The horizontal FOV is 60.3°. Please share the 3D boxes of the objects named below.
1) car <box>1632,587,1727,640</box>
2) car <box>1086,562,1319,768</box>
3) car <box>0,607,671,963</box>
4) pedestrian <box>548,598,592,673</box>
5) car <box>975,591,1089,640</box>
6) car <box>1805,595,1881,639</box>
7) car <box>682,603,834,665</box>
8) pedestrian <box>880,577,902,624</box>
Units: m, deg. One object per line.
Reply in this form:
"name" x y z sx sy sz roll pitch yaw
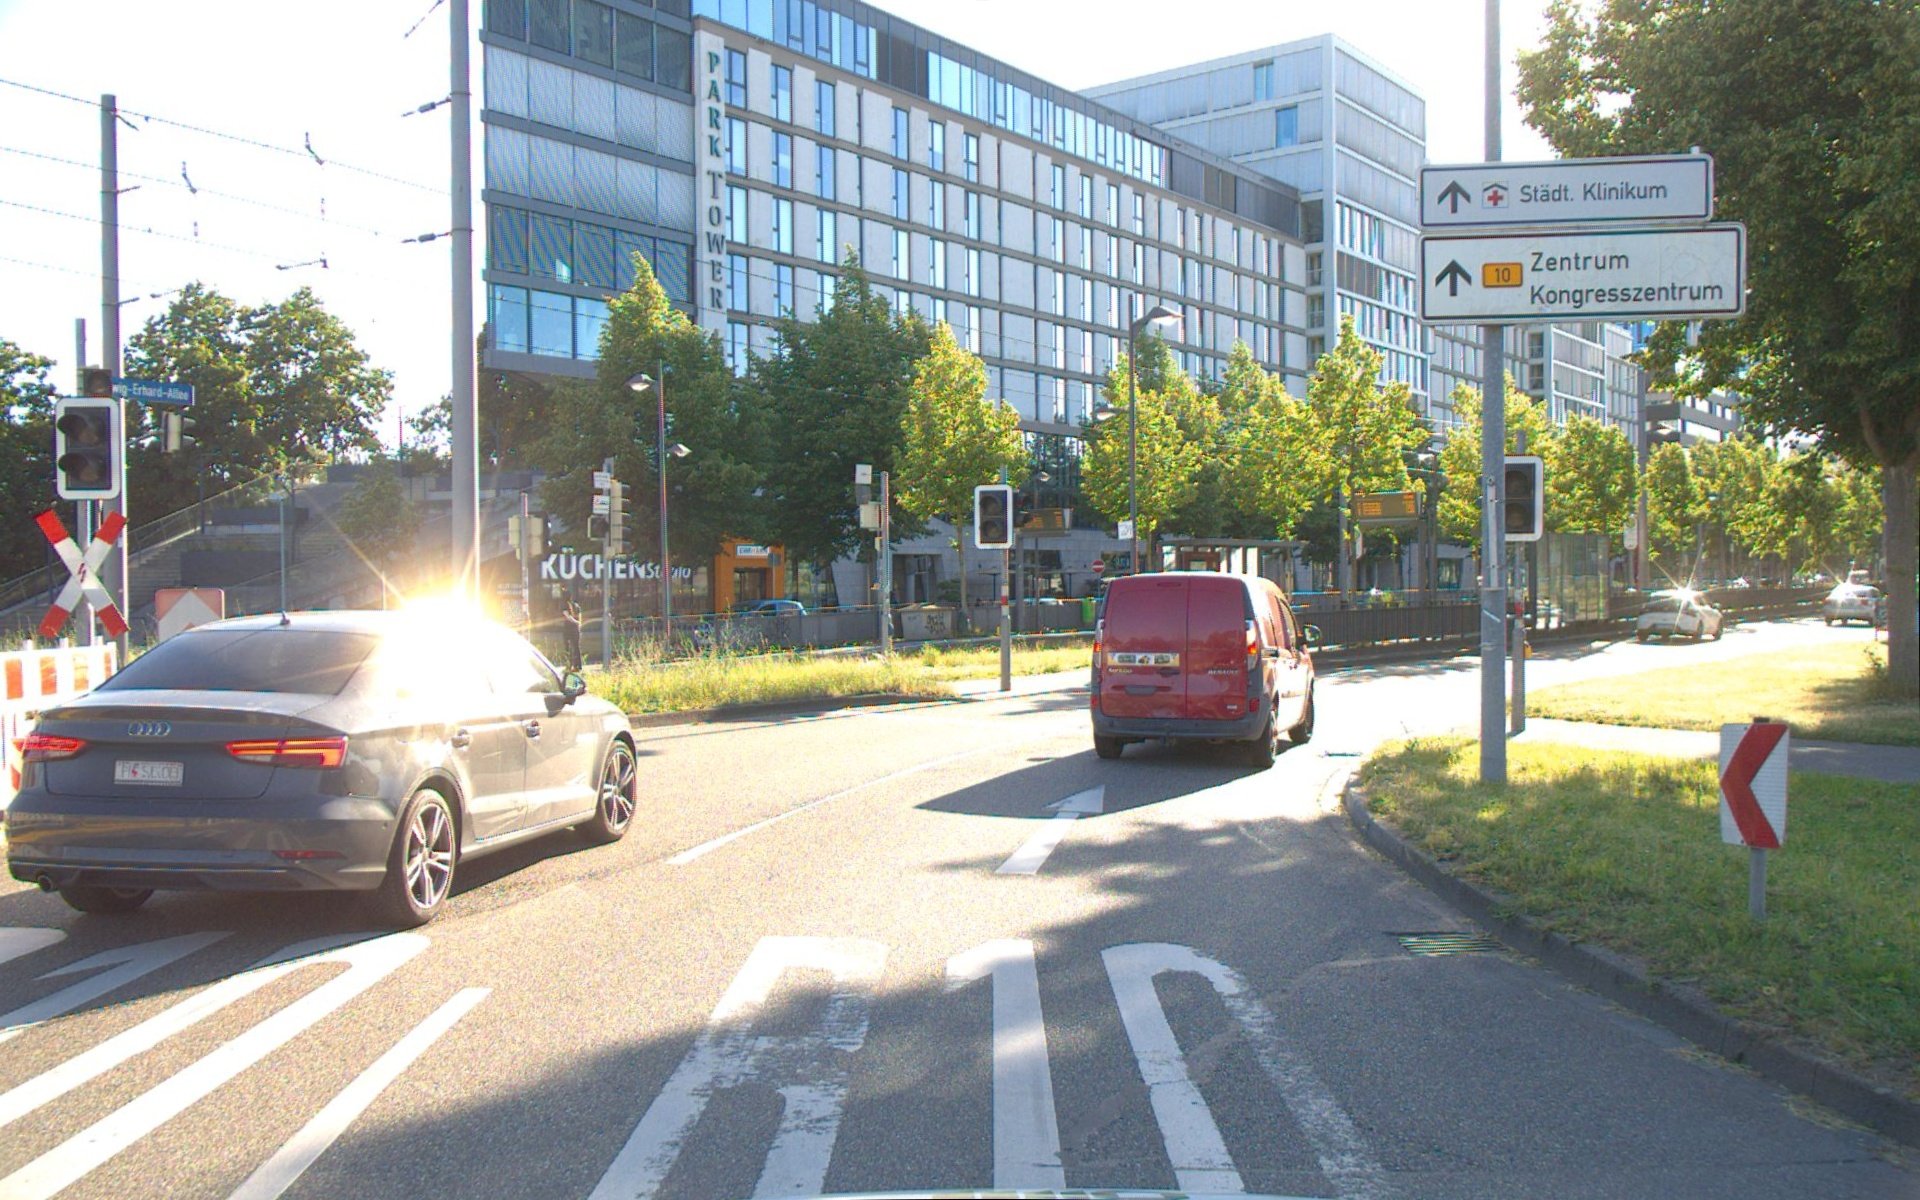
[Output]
"car" 21.718 0.378 49.874 1.773 1.487 3.793 1 2 37
"car" 2.588 0.608 16.904 1.765 1.845 3.811 0 -1 18
"car" -3.028 0.747 8.786 1.723 1.404 4.362 0 -1 7
"pedestrian" -7.868 0.703 33.380 0.545 1.492 0.675 0 0 35
"car" 2.481 0.502 56.153 1.904 1.602 3.956 0 0 39
"car" 34.604 0.638 64.757 1.961 1.602 4.390 -1 1 37
"car" -5.504 0.903 45.487 1.904 1.602 3.955 0 0 40
"pedestrian" -3.096 0.019 74.050 0.628 2.049 0.830 0 0 38
